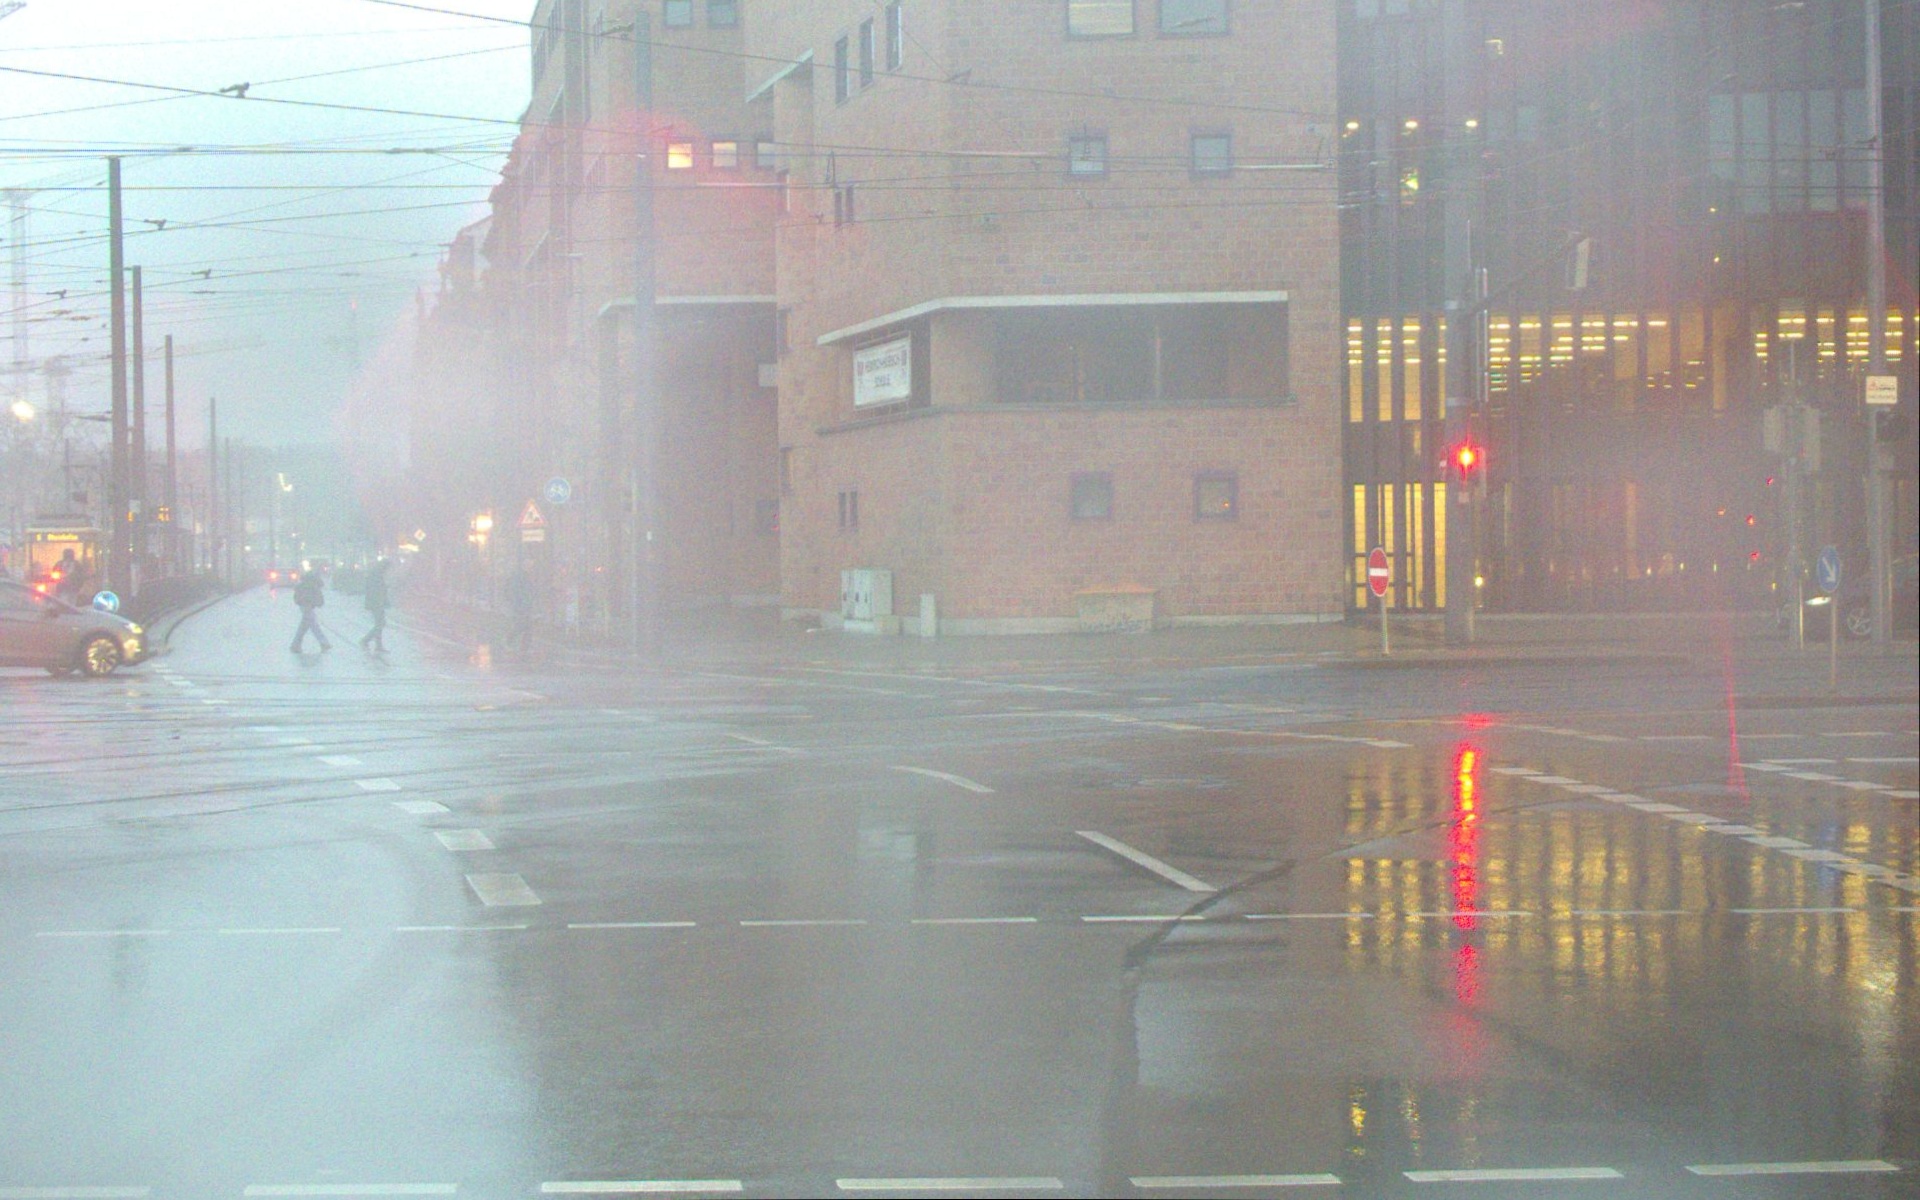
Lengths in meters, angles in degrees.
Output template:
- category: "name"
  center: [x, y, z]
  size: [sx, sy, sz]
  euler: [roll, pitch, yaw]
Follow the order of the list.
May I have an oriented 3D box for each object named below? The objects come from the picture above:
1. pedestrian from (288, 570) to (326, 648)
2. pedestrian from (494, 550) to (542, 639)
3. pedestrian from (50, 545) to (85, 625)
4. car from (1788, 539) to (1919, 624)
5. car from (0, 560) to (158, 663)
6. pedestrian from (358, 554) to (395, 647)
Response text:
- category: "pedestrian"
  center: [-12.572, 0.170, 66.186]
  size: [0.700, 1.479, 0.576]
  euler: [-1, 1, -10]
- category: "pedestrian"
  center: [-8.427, -0.112, 65.571]
  size: [0.843, 1.681, 0.649]
  euler: [-1, 1, -10]
- category: "pedestrian"
  center: [-19.274, -0.327, 74.262]
  size: [0.693, 1.718, 0.766]
  euler: [-1, 1, -15]
- category: "car"
  center: [15.698, -0.334, 55.740]
  size: [3.986, 1.305, 2.000]
  euler: [-1, 1, -4]
- category: "car"
  center: [-13.538, 0.154, 48.874]
  size: [3.986, 1.436, 1.715]
  euler: [0, 1, -20]
- category: "pedestrian"
  center: [-11.000, 0.006, 64.799]
  size: [0.666, 1.719, 0.488]
  euler: [-1, 1, -10]
